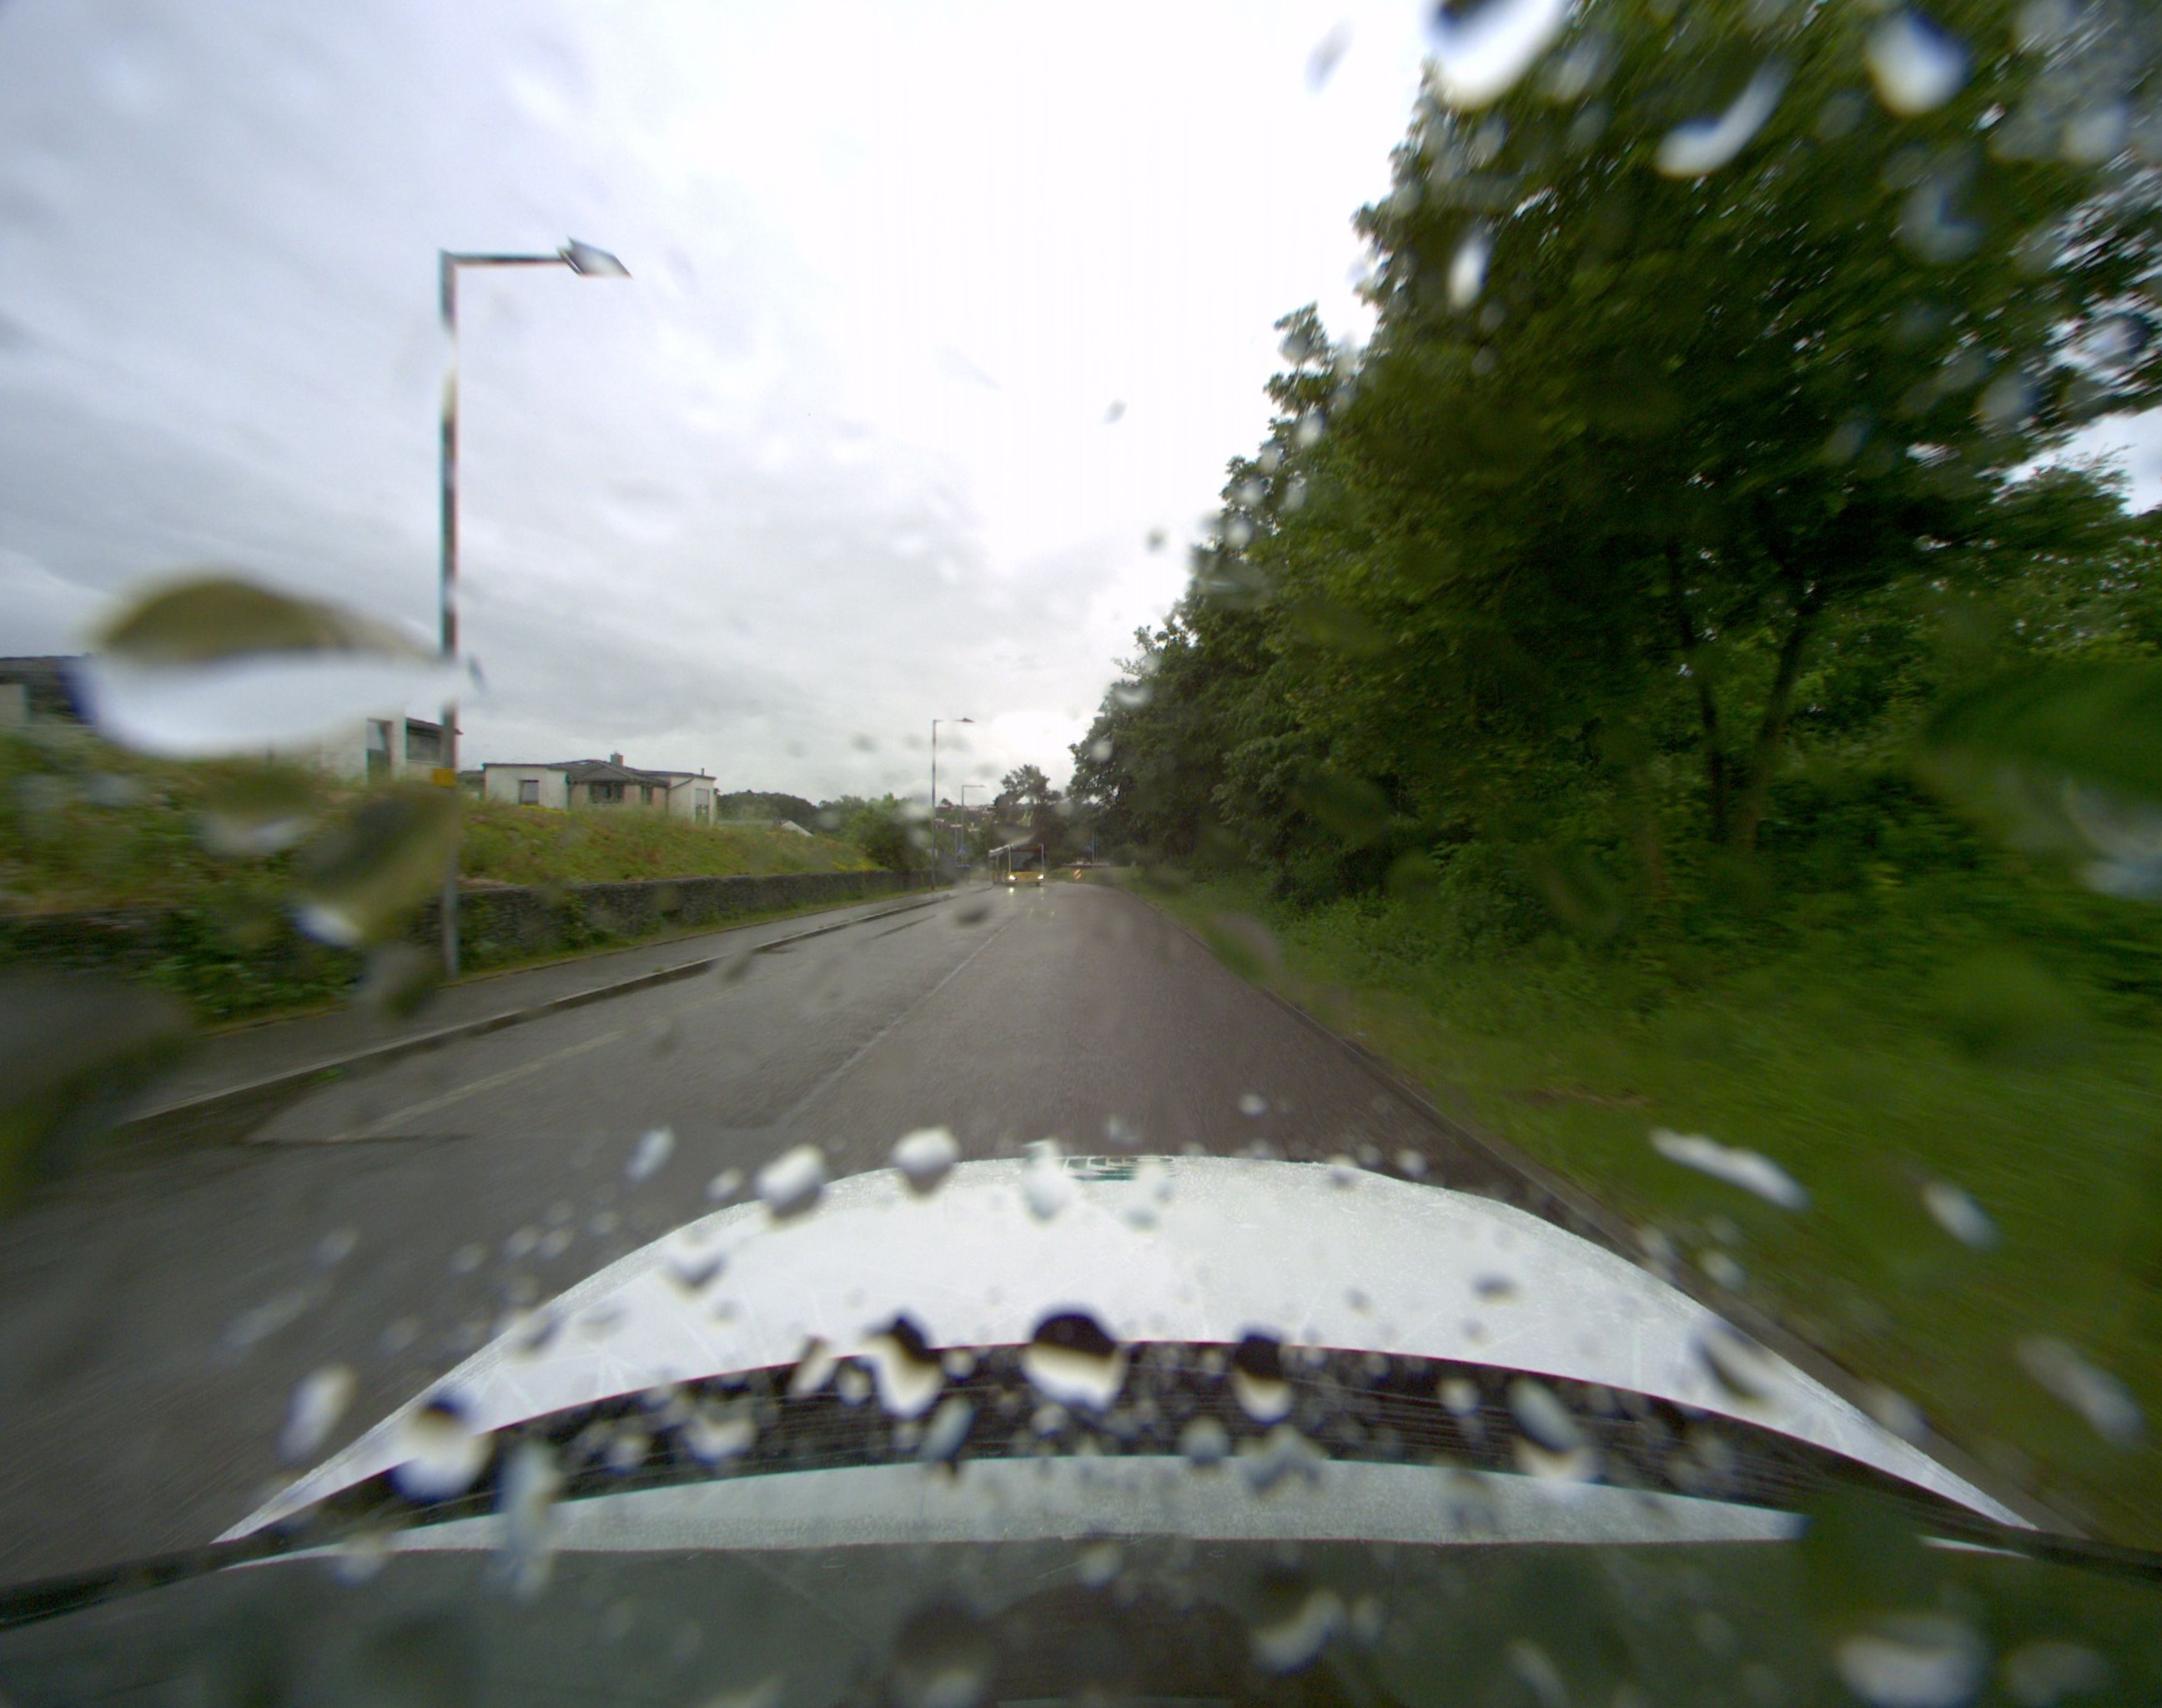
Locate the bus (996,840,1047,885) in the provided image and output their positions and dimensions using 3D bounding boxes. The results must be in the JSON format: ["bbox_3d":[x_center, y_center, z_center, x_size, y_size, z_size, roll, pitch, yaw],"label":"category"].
[{"bbox_3d":[-4.605,0.690,60.846,2.640,3.067,10.815,-1,-1,-10],"label":"bus"}]

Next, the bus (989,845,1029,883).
[{"bbox_3d":[-6.269,0.868,69.989,2.641,3.032,7.635,0,-1,-11],"label":"bus"}]

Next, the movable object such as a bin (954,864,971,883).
[{"bbox_3d":[-8.472,1.378,58.023,1.131,1.339,1.394,3,-1,-10],"label":"movable object such as a bin"}]
